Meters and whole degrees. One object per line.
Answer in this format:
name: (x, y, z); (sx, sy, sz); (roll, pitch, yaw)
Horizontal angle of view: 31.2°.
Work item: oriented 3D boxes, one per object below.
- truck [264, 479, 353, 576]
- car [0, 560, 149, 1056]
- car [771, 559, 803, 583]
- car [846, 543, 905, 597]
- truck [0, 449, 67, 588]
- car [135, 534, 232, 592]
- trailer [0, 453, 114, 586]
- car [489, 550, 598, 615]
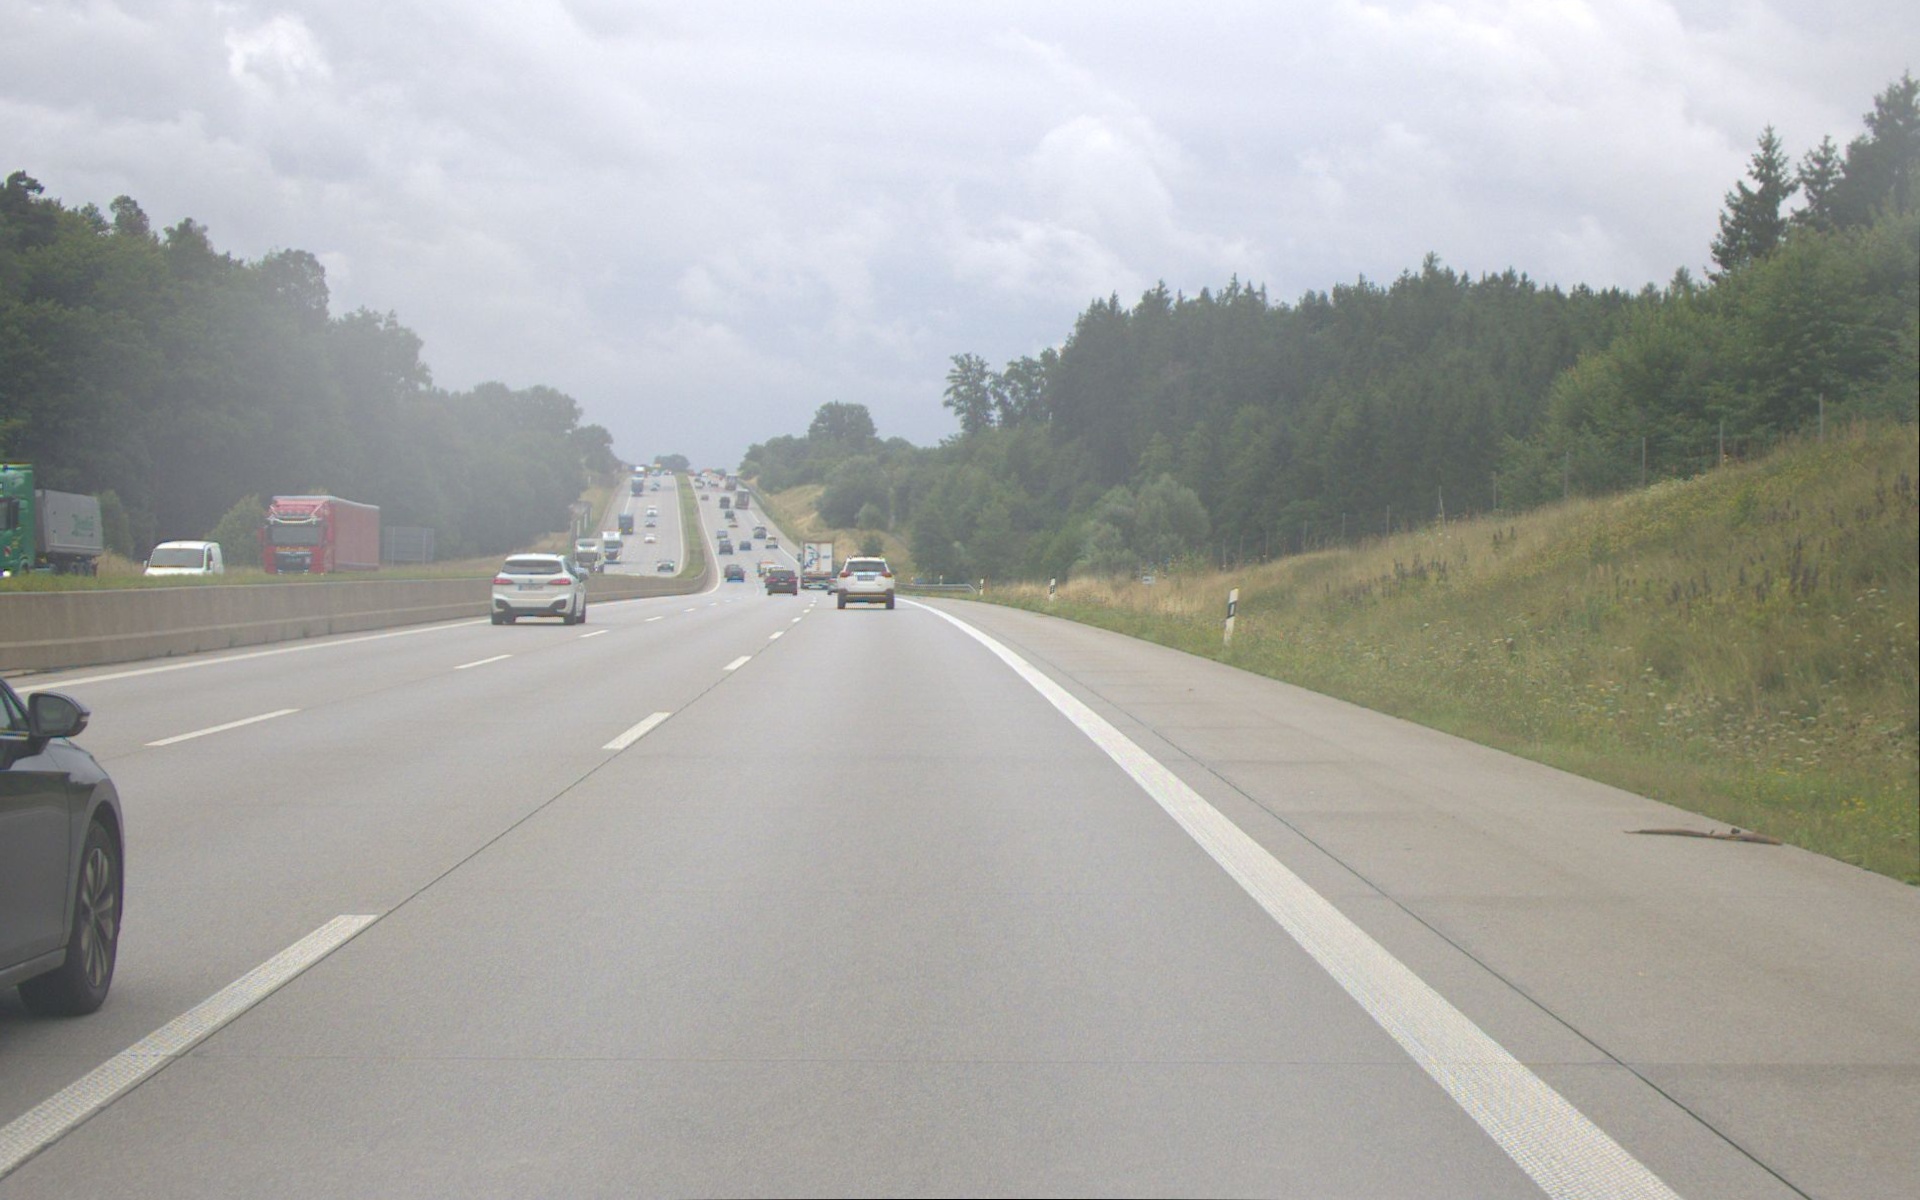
truck: (-27.147, -3.000, 143.444); (2.553, 3.914, 6.947); (1, 1, -2)
car: (-3.594, 0.602, 9.244); (1.752, 1.393, 4.484); (0, 1, 0)
car: (-10.926, -1.836, 217.098); (1.935, 1.370, 4.595); (1, 1, -4)
car: (-2.696, -0.968, 109.757); (1.825, 1.650, 3.985); (1, 1, -1)
truck: (-26.799, -2.238, 95.173); (2.780, 3.727, 5.661); (1, 1, -2)
car: (-21.882, -1.063, 97.083); (1.780, 1.594, 4.561); (1, 1, -1)
trailer: (-26.948, -2.317, 99.785); (2.804, 3.687, 9.013); (1, 1, -2)
car: (-9.134, -0.401, 75.655); (1.947, 1.351, 4.260); (1, 1, -1)
